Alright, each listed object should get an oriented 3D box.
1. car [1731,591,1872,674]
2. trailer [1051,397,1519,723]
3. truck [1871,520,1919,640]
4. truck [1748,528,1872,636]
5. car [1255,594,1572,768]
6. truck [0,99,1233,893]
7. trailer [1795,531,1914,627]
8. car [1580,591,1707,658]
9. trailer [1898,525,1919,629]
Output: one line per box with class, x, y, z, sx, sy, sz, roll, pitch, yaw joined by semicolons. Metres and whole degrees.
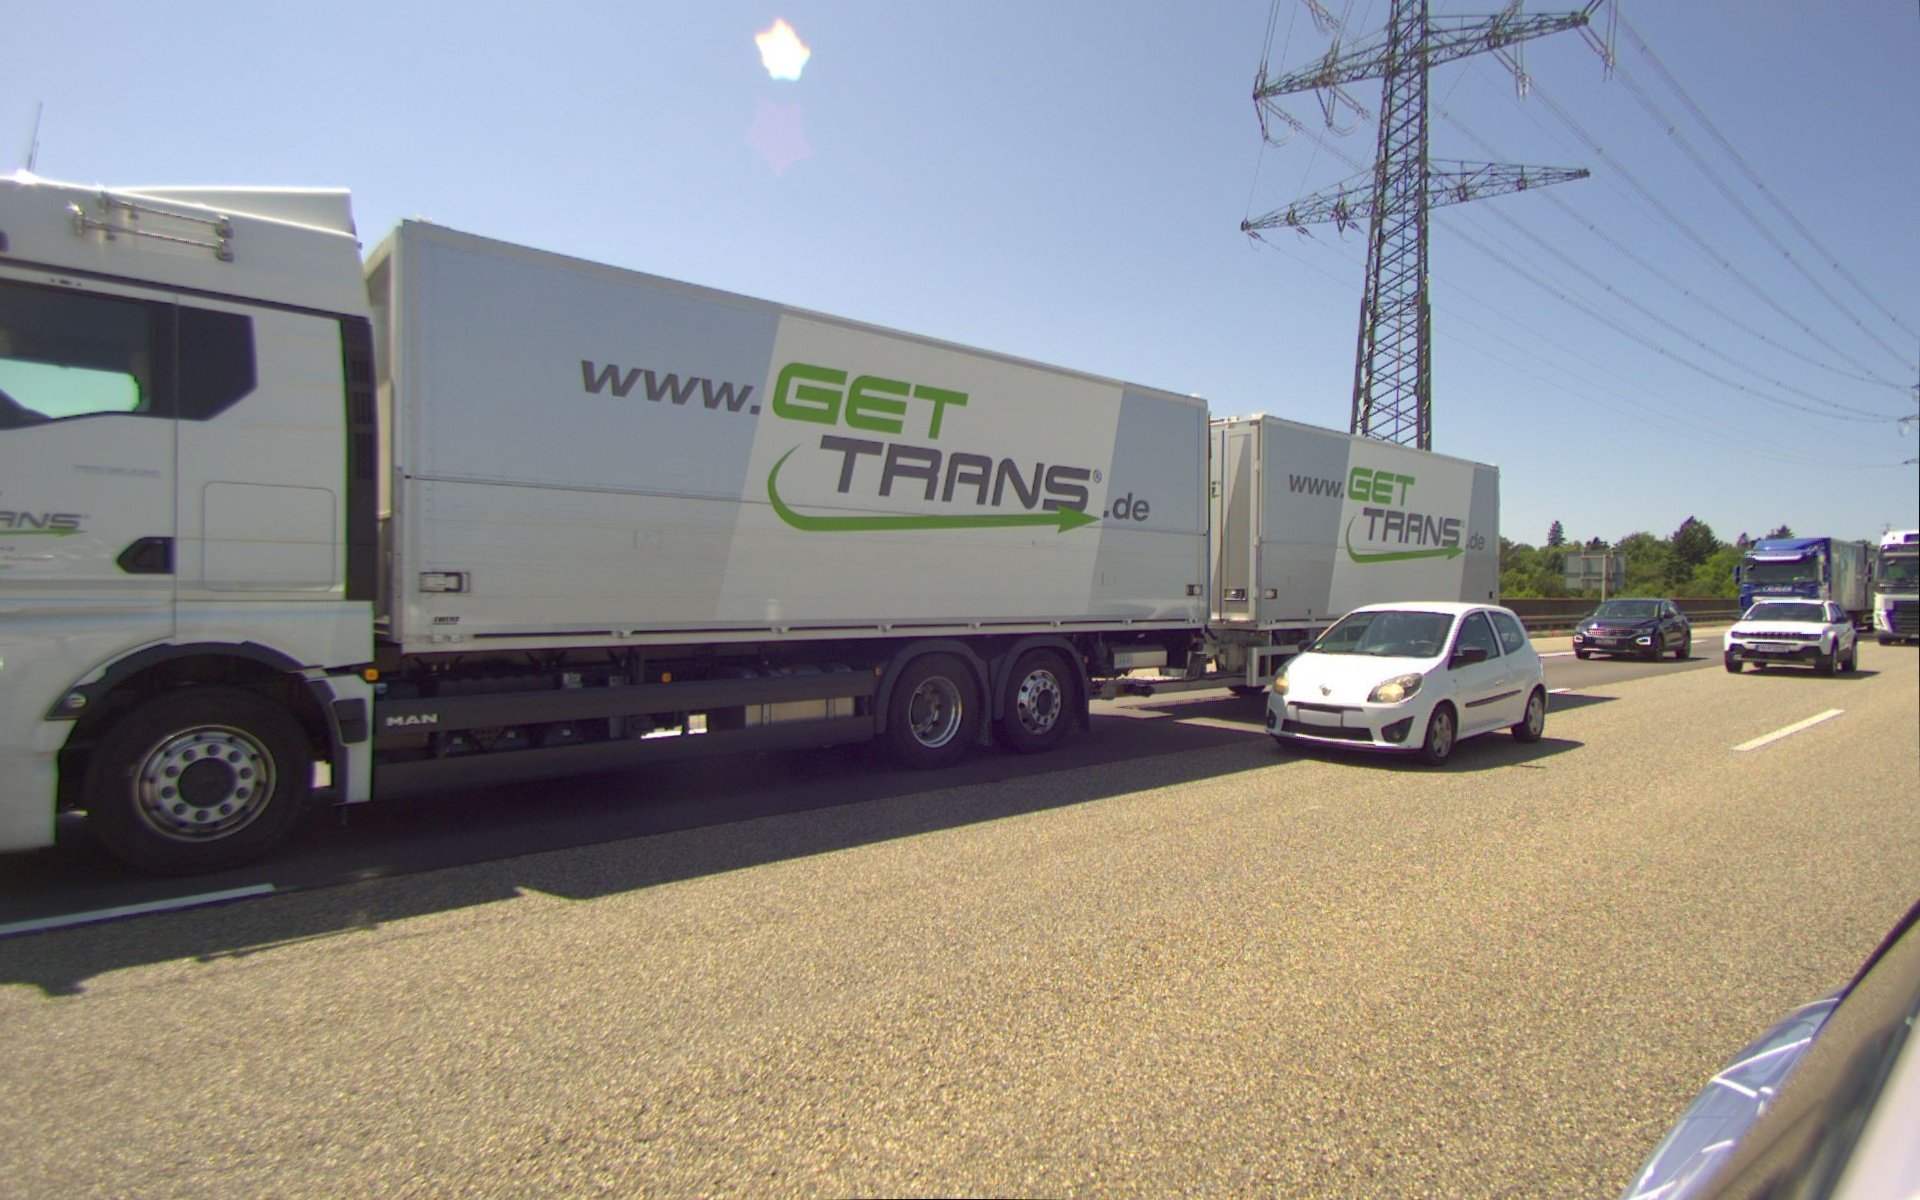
car;17.640;0.616;21.171;3.688;1.554;1.720;0;1;-41
trailer;5.206;-0.457;15.051;8.146;3.640;2.849;0;0;-41
truck;34.228;-0.704;35.286;6.624;3.941;2.911;-1;0;-41
truck;34.655;-0.689;41.154;7.785;4.018;2.516;0;0;-40
car;4.710;0.678;10.314;3.566;1.458;1.583;0;1;-41
truck;-1.850;-0.475;8.838;10.582;3.648;2.855;0;0;-42
trailer;41.753;-0.928;47.074;10.692;4.044;2.542;-1;0;-40
car;17.213;0.561;25.418;3.820;1.524;1.708;0;1;-41
trailer;40.324;-0.929;40.648;9.604;3.918;2.895;-1;0;-41
